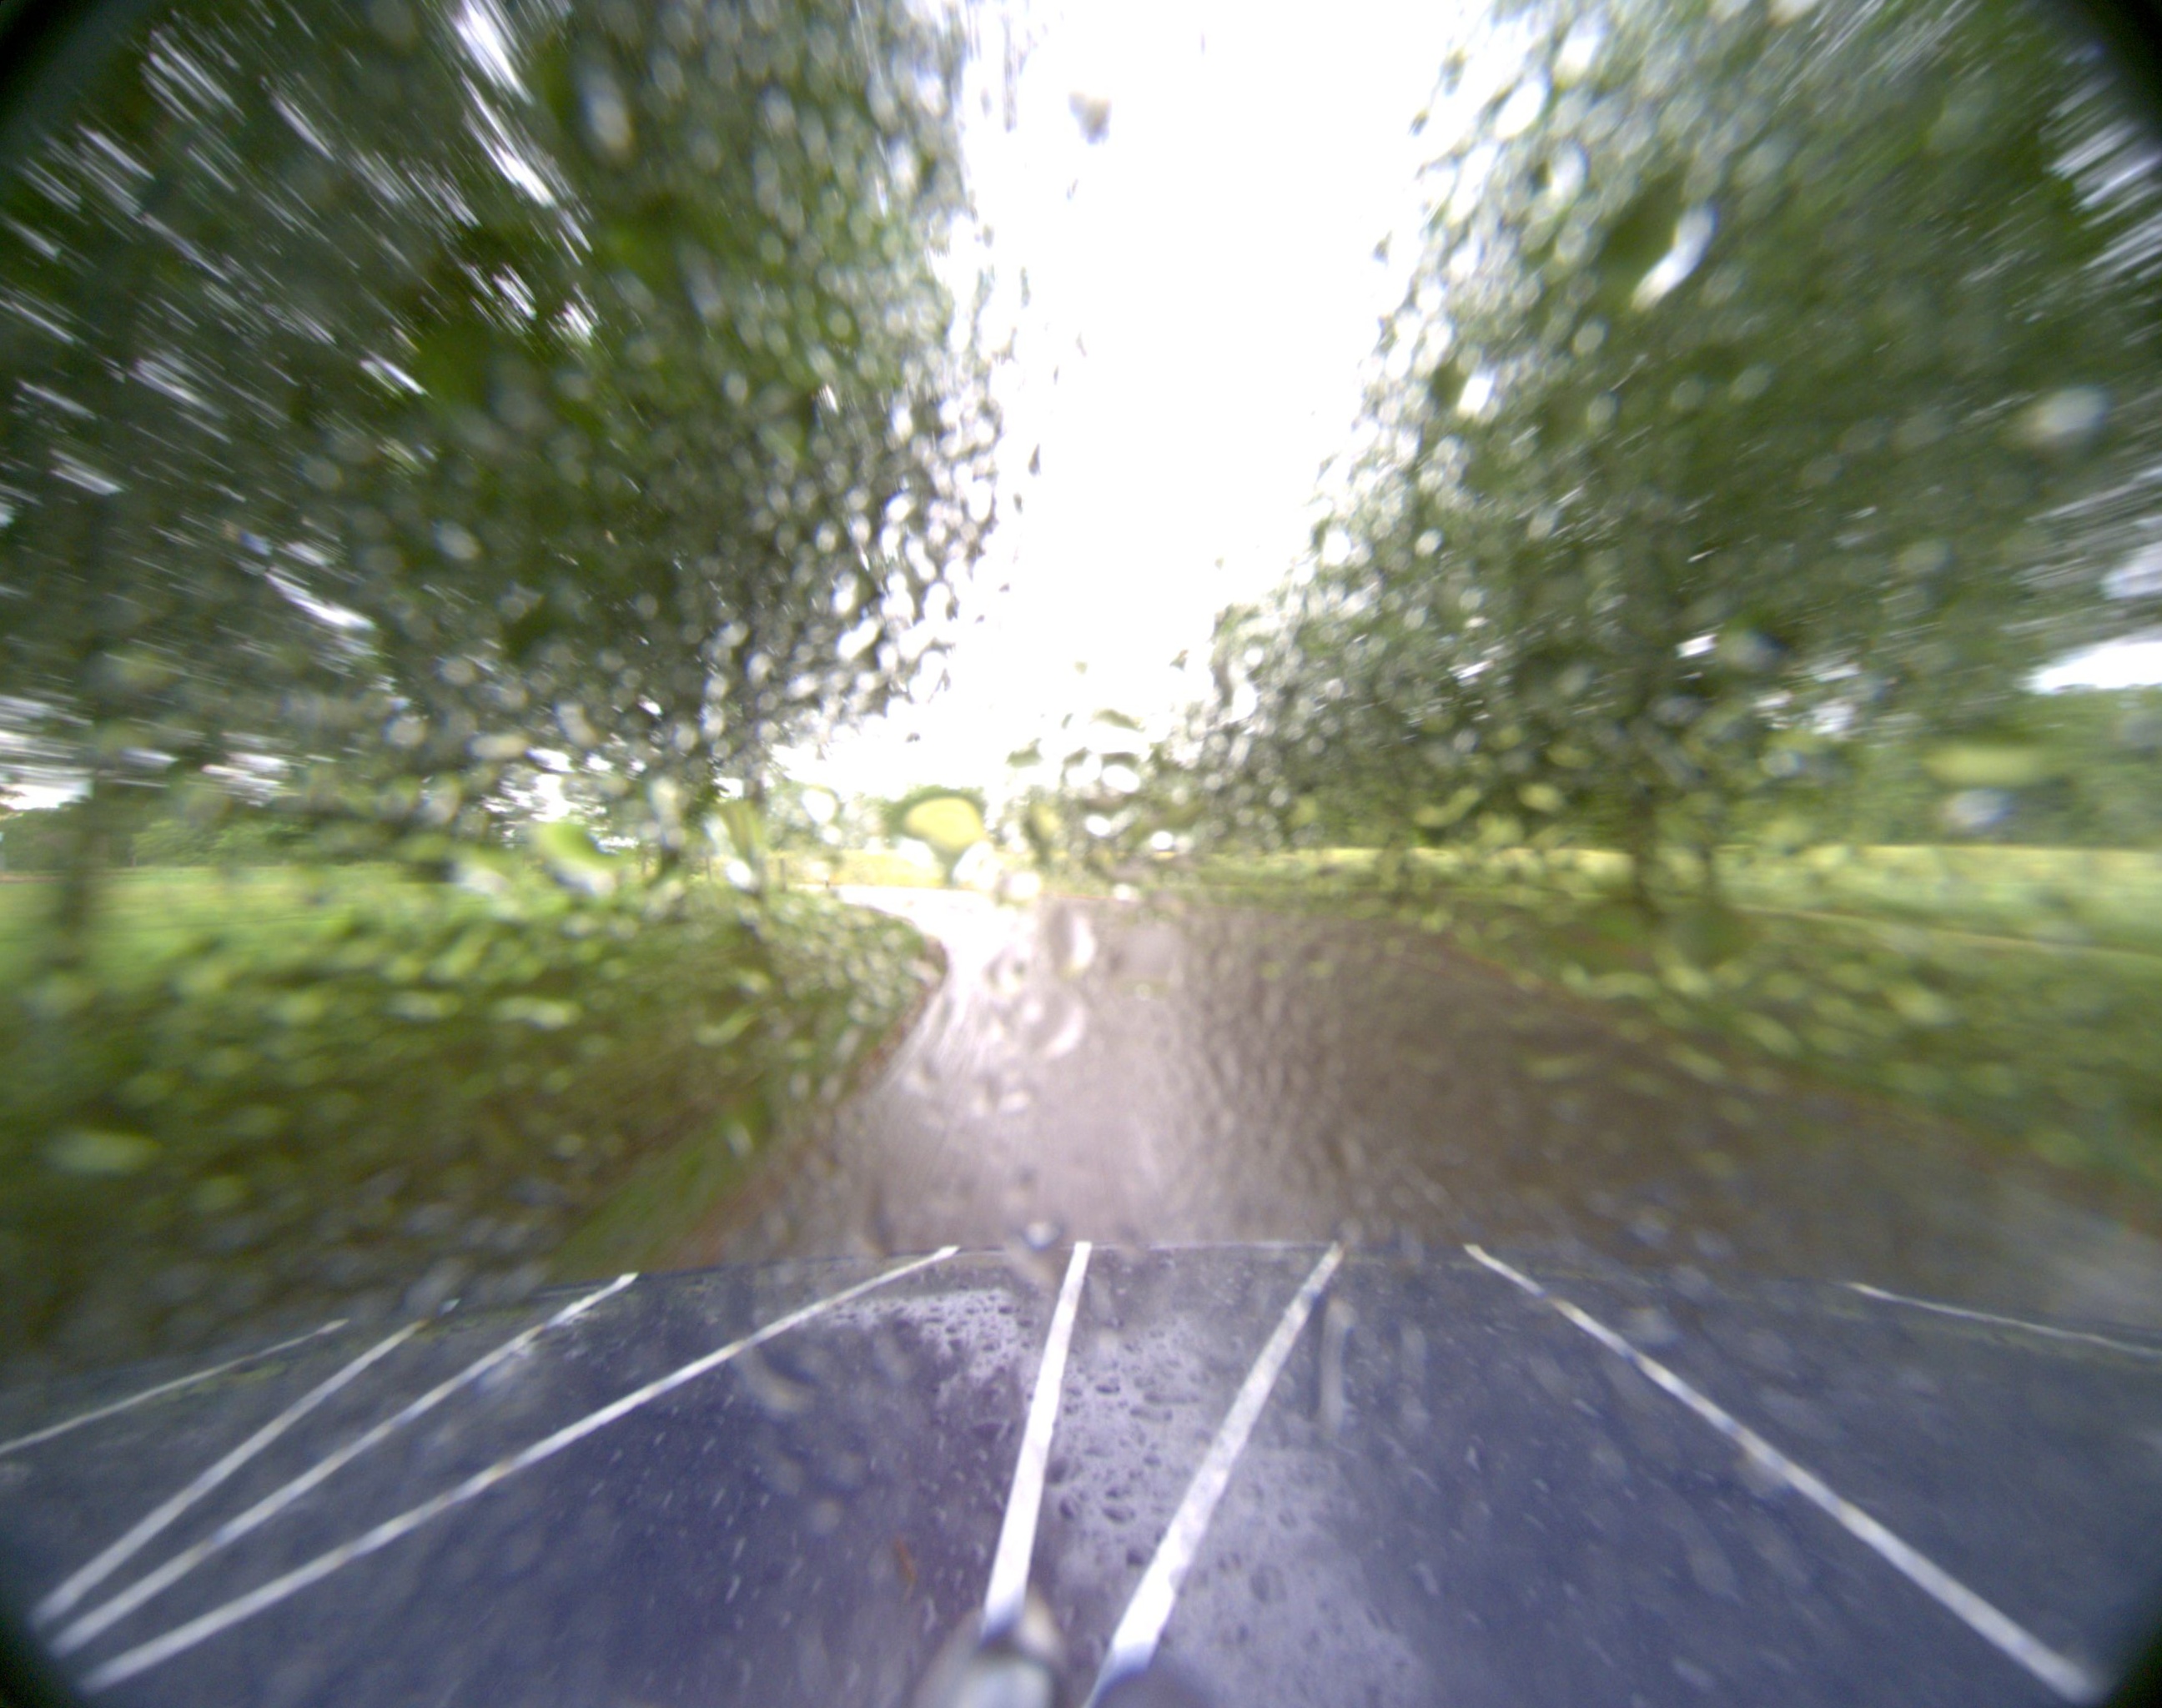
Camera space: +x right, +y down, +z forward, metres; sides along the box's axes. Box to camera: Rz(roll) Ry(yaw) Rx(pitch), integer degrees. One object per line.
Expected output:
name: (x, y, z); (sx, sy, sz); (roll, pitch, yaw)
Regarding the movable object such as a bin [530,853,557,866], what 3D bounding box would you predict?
movable object such as a bin: (-67.060, 0.693, 94.815); (3.528, 1.562, 1.687); (0, 1, 37)
